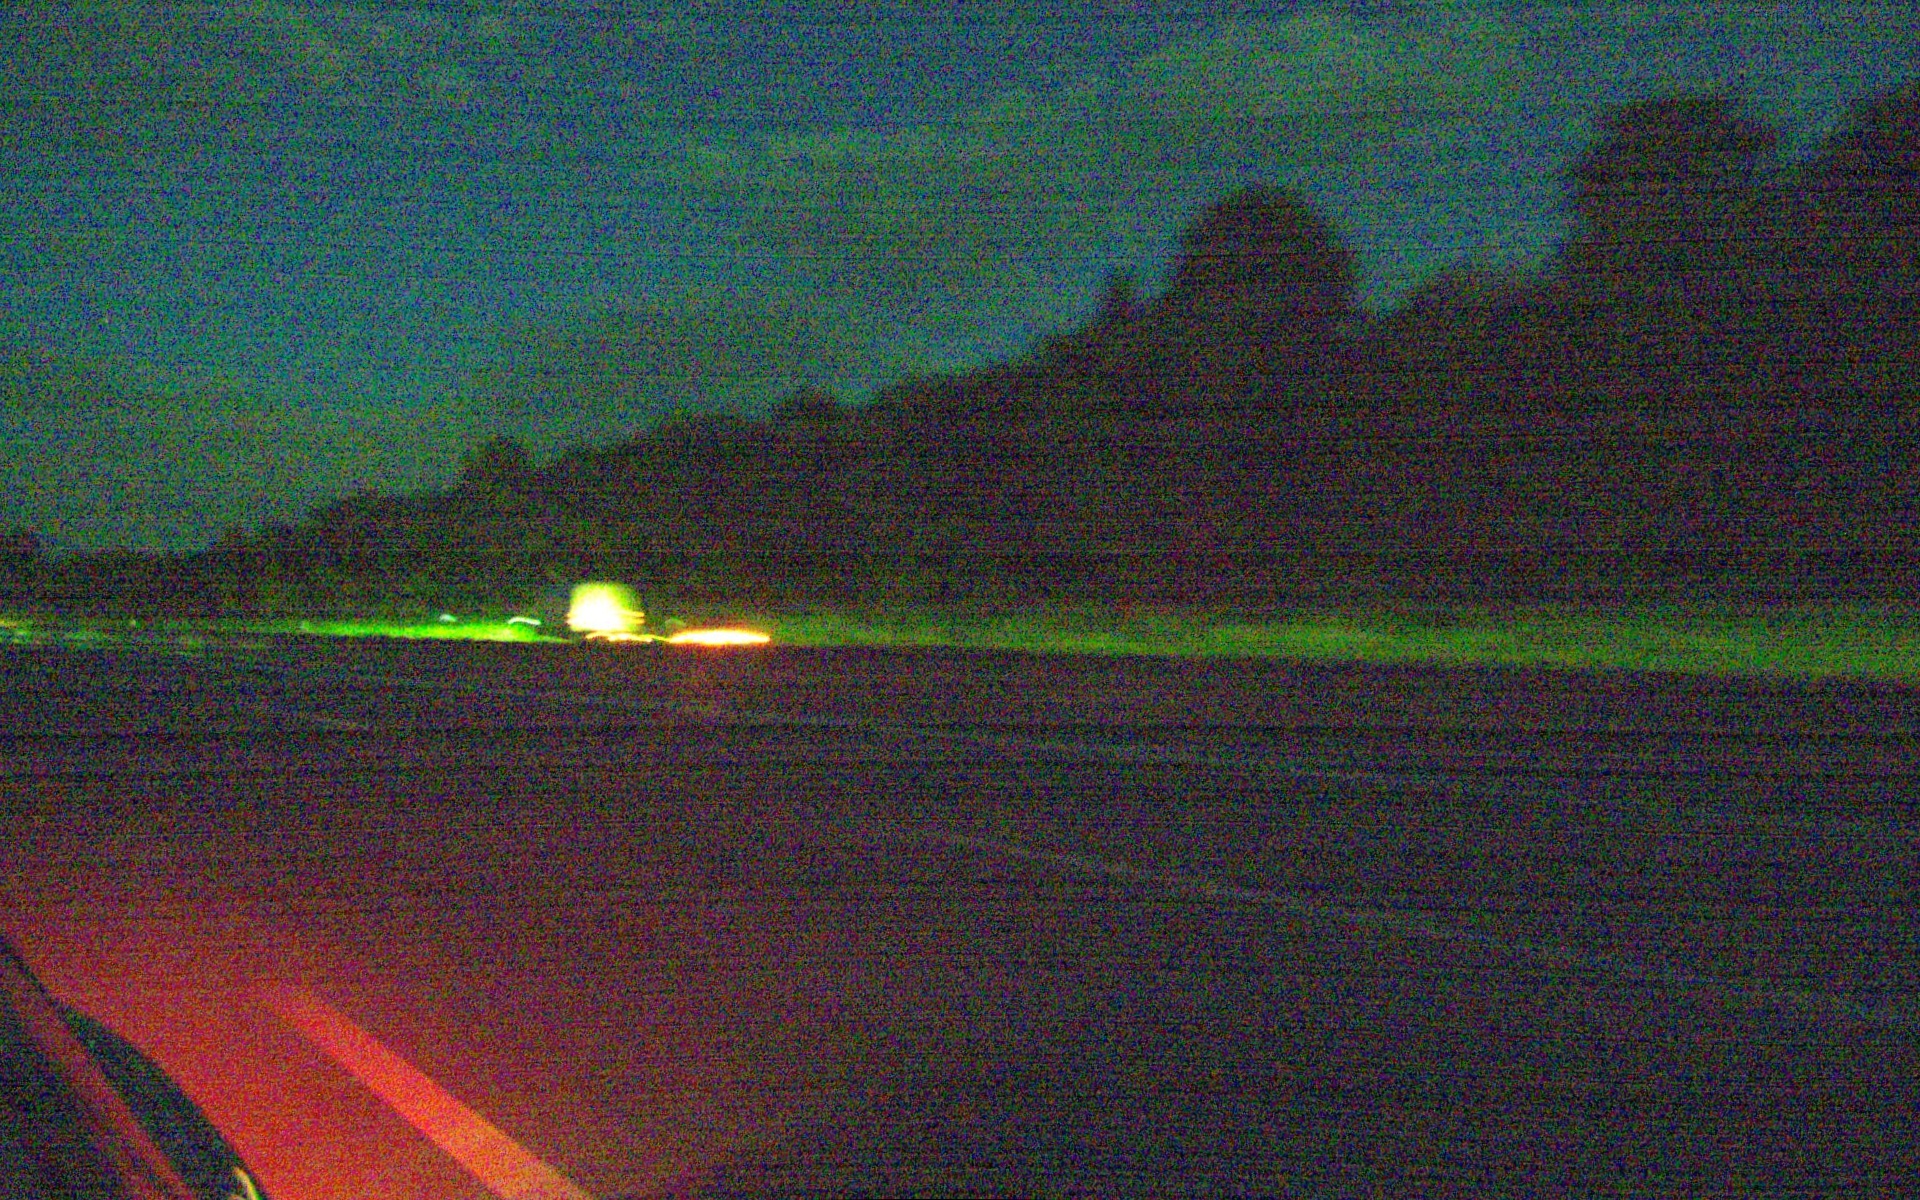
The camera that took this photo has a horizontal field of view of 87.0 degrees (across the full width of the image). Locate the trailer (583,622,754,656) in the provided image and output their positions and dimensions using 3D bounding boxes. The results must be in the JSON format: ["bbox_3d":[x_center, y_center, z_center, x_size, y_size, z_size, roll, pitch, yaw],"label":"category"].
[{"bbox_3d":[-11.542,1.465,39.572,8.070,1.112,2.390,-1,0,40],"label":"trailer"}]

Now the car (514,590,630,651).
[{"bbox_3d":[-17.044,0.872,44.267,6.239,2.506,2.060,-1,-1,41],"label":"car"}]
